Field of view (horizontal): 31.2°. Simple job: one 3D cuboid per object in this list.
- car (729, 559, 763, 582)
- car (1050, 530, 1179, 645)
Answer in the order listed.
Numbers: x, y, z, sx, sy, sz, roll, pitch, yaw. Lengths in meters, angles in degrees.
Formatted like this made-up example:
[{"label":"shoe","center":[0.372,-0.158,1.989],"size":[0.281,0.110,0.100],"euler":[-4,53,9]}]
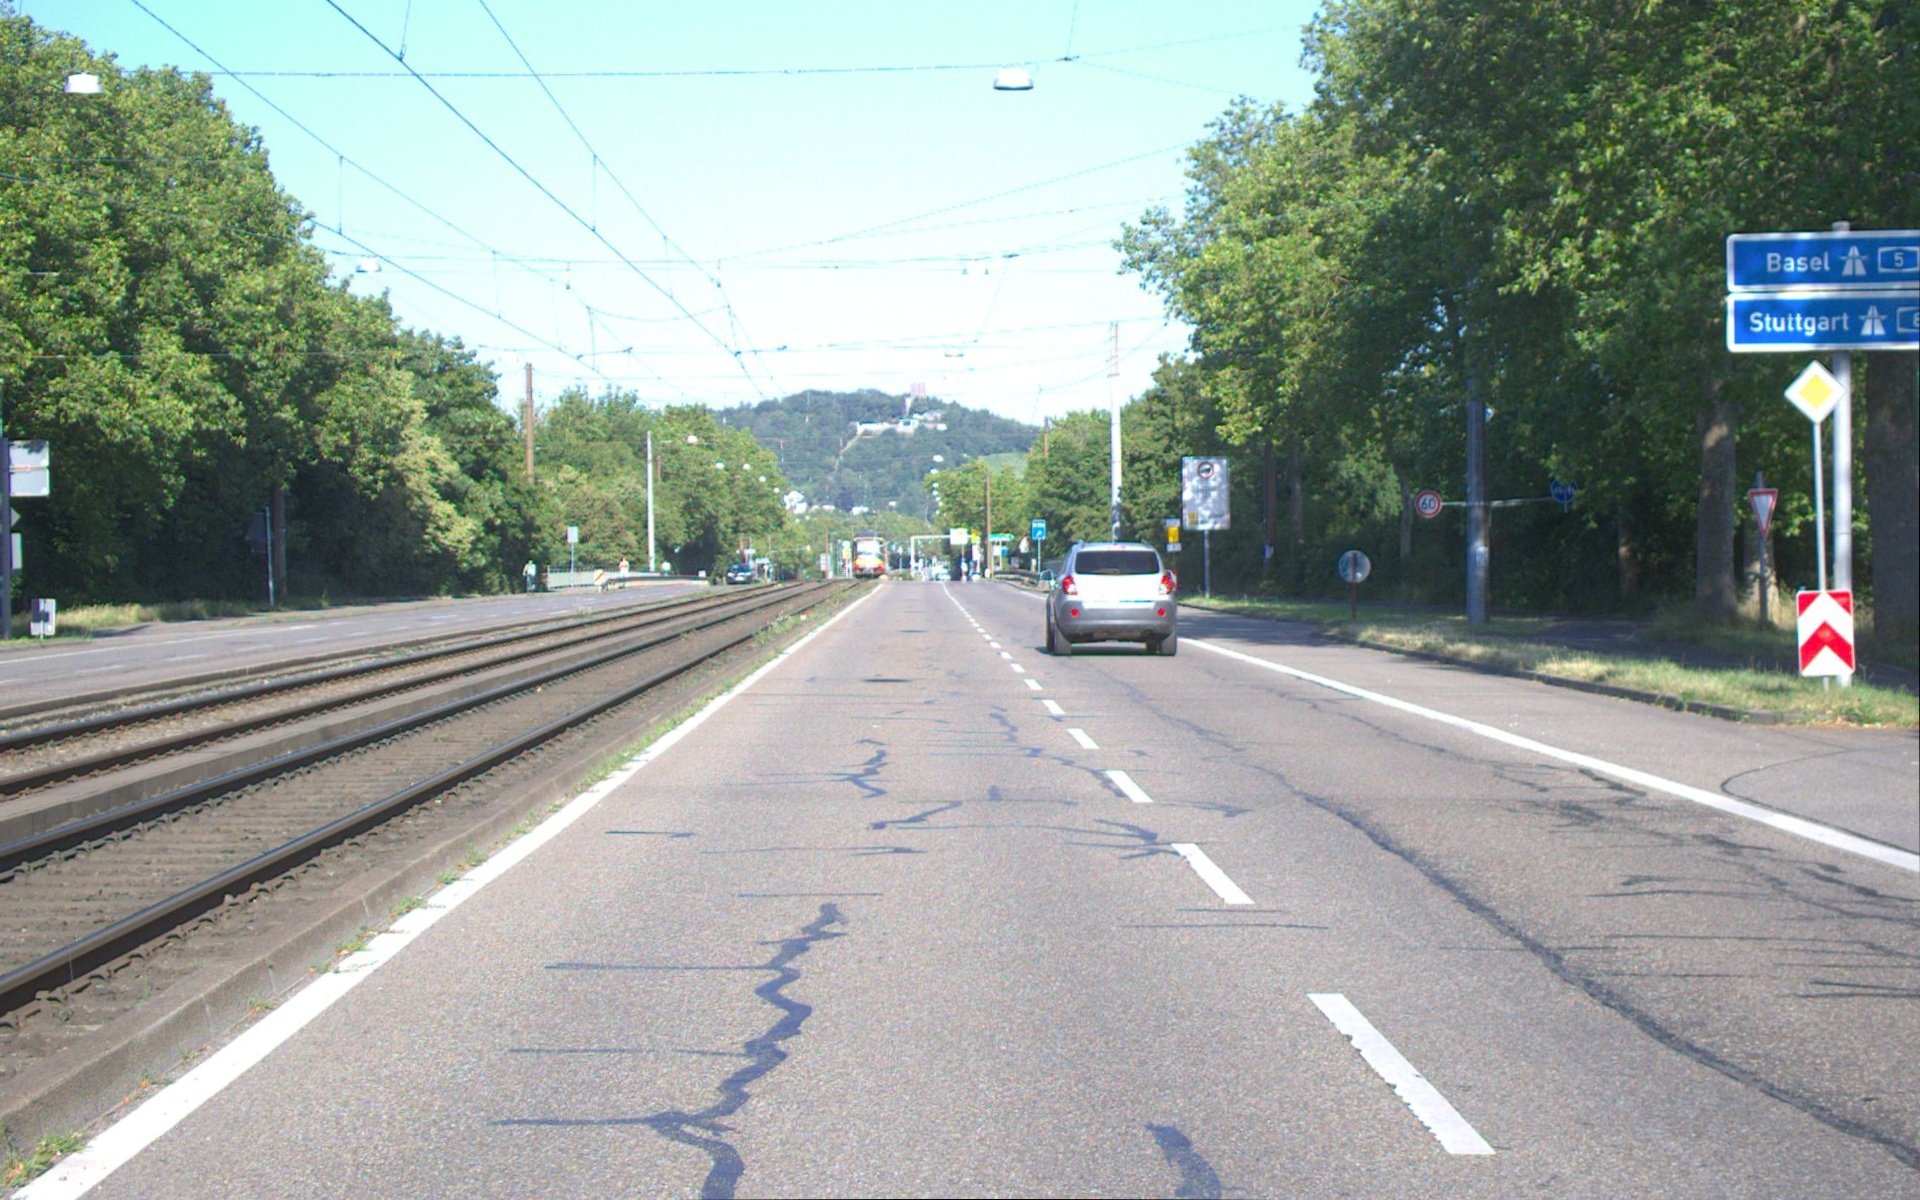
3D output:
[{"label":"car","center":[-16.248,-2.262,261.098],"size":[1.994,1.680,4.795],"euler":[-2,0,3]},{"label":"car","center":[2.327,-0.206,52.622],"size":[1.888,1.688,4.256],"euler":[0,0,2]}]
